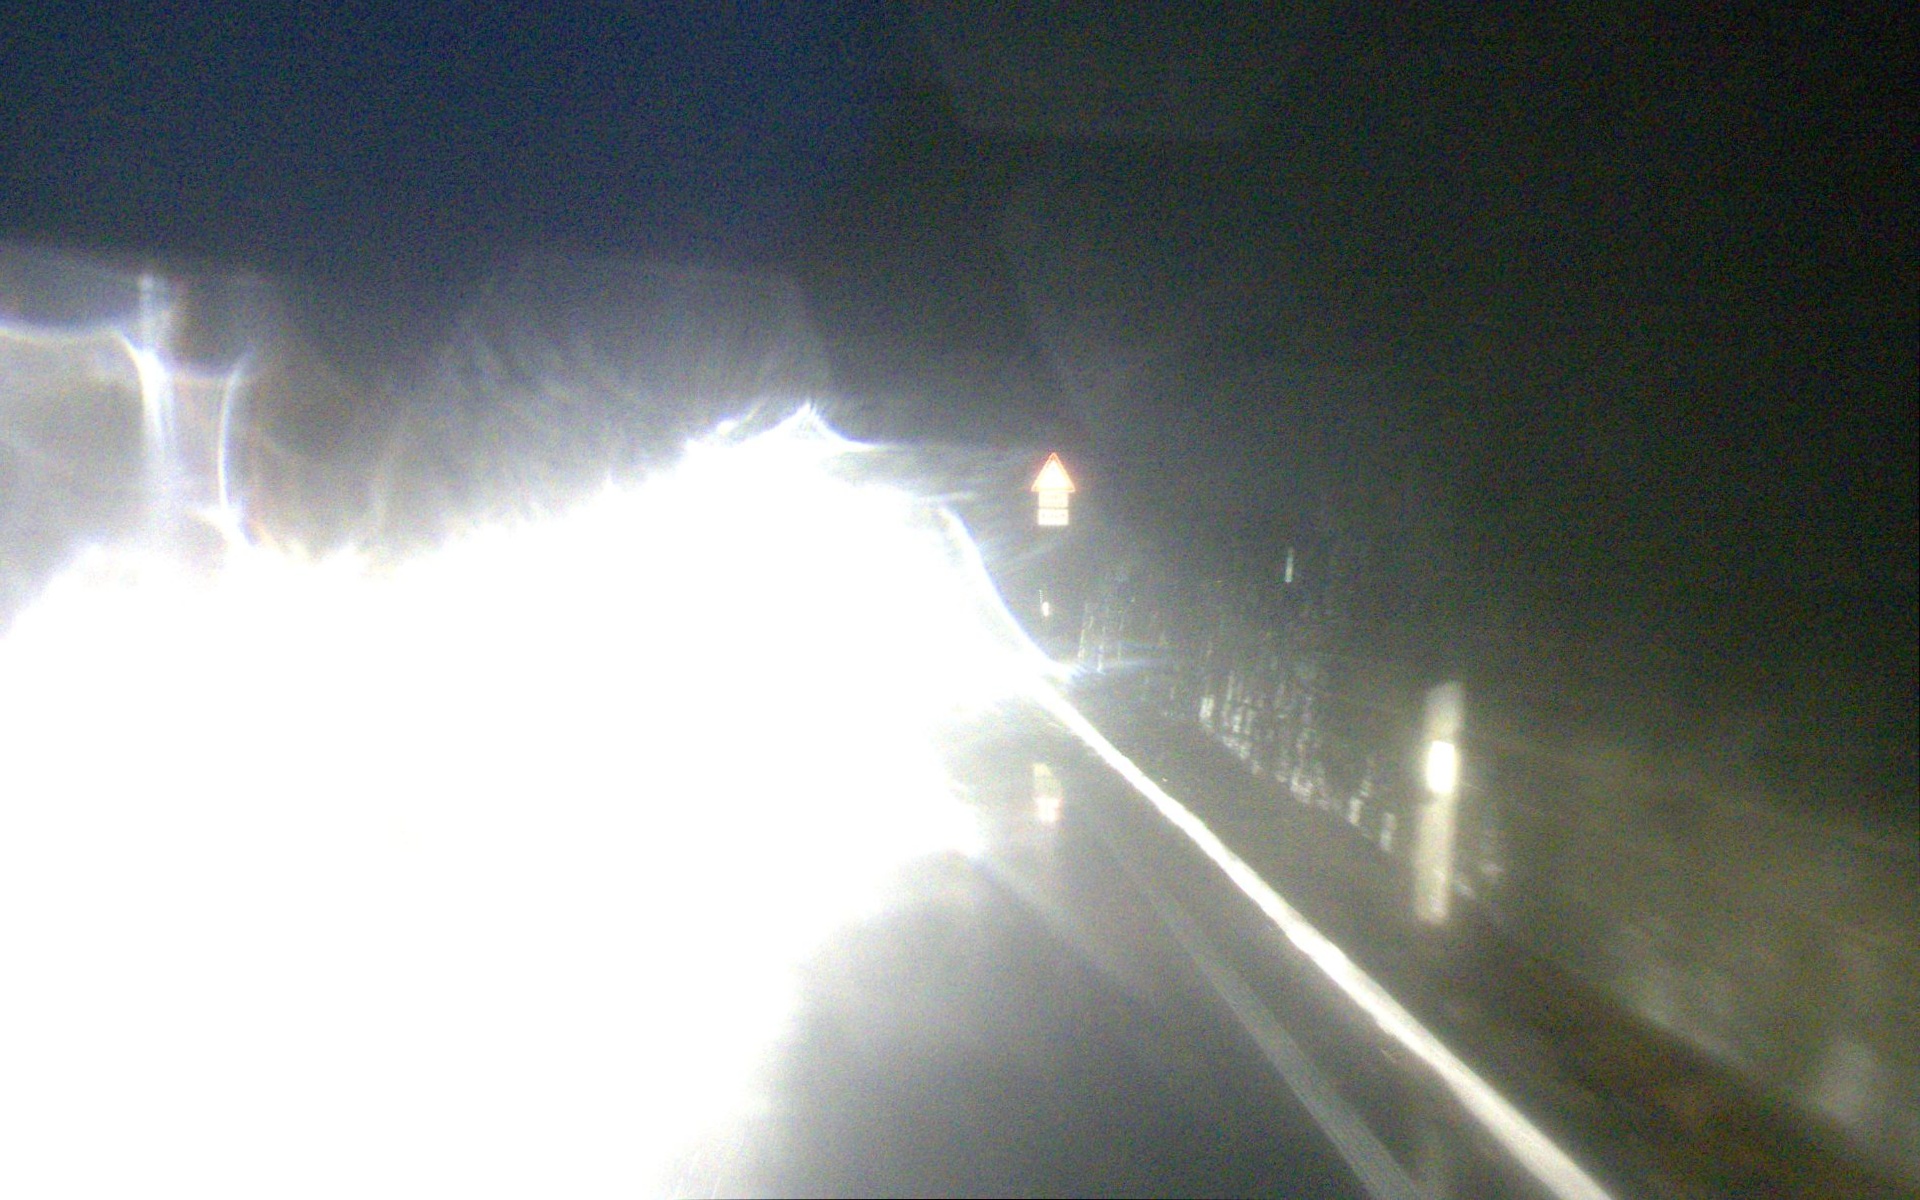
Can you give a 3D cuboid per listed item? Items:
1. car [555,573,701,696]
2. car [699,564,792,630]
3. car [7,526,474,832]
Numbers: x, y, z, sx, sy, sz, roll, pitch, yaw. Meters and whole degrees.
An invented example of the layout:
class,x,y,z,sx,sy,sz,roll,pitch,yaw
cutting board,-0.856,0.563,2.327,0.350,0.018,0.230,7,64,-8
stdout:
class,x,y,z,sx,sy,sz,roll,pitch,yaw
car,-4.393,0.430,45.968,1.716,1.549,4.000,0,1,-2
car,-5.130,-0.051,82.687,1.993,1.492,4.356,1,-1,0
car,-4.003,0.369,19.847,1.830,1.549,4.442,1,1,-1
